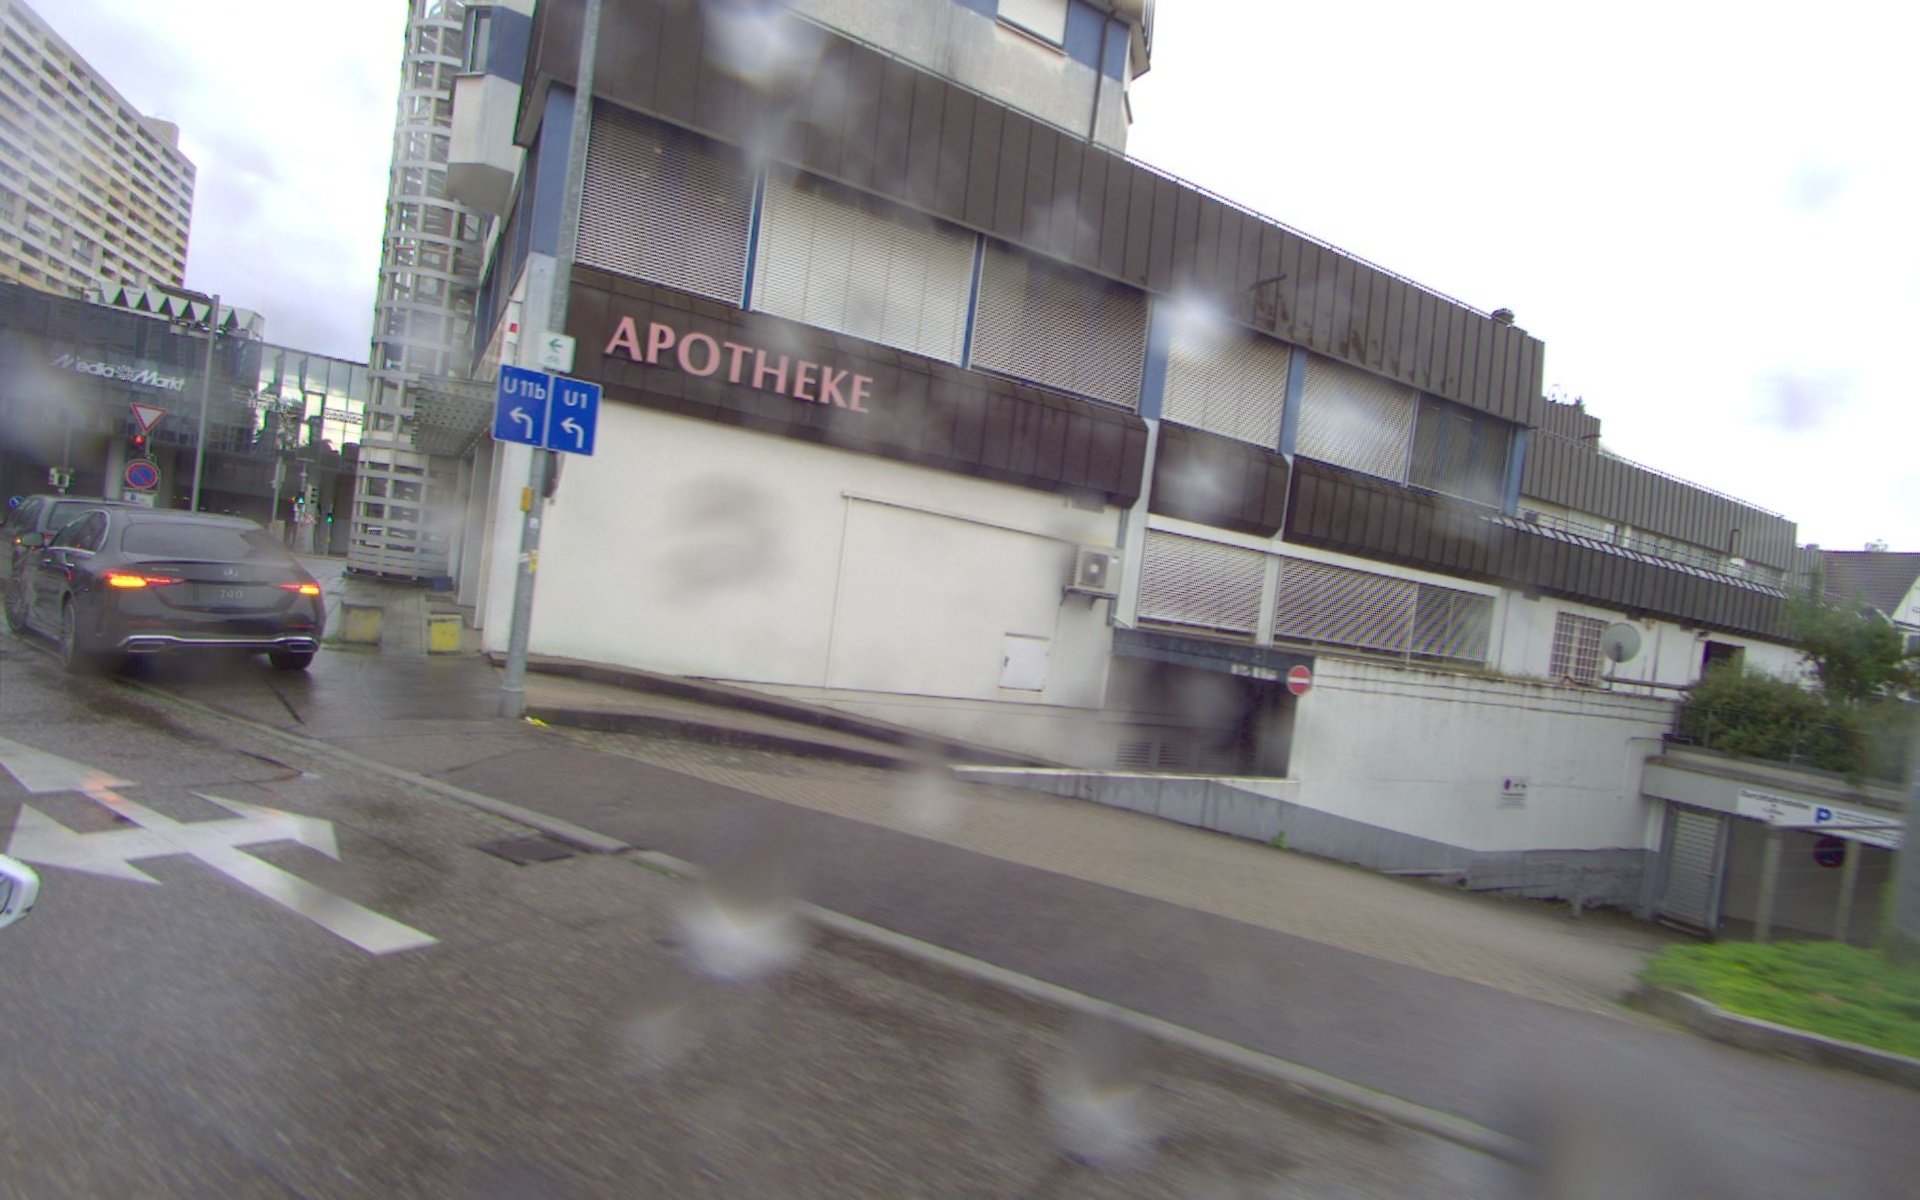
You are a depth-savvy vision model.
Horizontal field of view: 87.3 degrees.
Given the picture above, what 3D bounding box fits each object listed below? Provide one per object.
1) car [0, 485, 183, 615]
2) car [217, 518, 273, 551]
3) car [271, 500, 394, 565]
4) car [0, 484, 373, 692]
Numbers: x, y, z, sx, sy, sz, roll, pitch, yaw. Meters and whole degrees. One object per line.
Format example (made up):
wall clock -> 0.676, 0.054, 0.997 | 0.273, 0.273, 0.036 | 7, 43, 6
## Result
car -> -12.639, -0.761, 14.294 | 3.941, 1.506, 1.694 | 7, 3, 40
car -> -45.036, -4.097, 63.438 | 1.974, 1.738, 3.976 | 6, 0, -24
car -> -25.770, -2.741, 41.476 | 3.953, 2.038, 1.986 | 8, 0, -27
car -> -7.866, -0.185, 10.007 | 4.581, 1.552, 1.992 | 5, -2, 40
